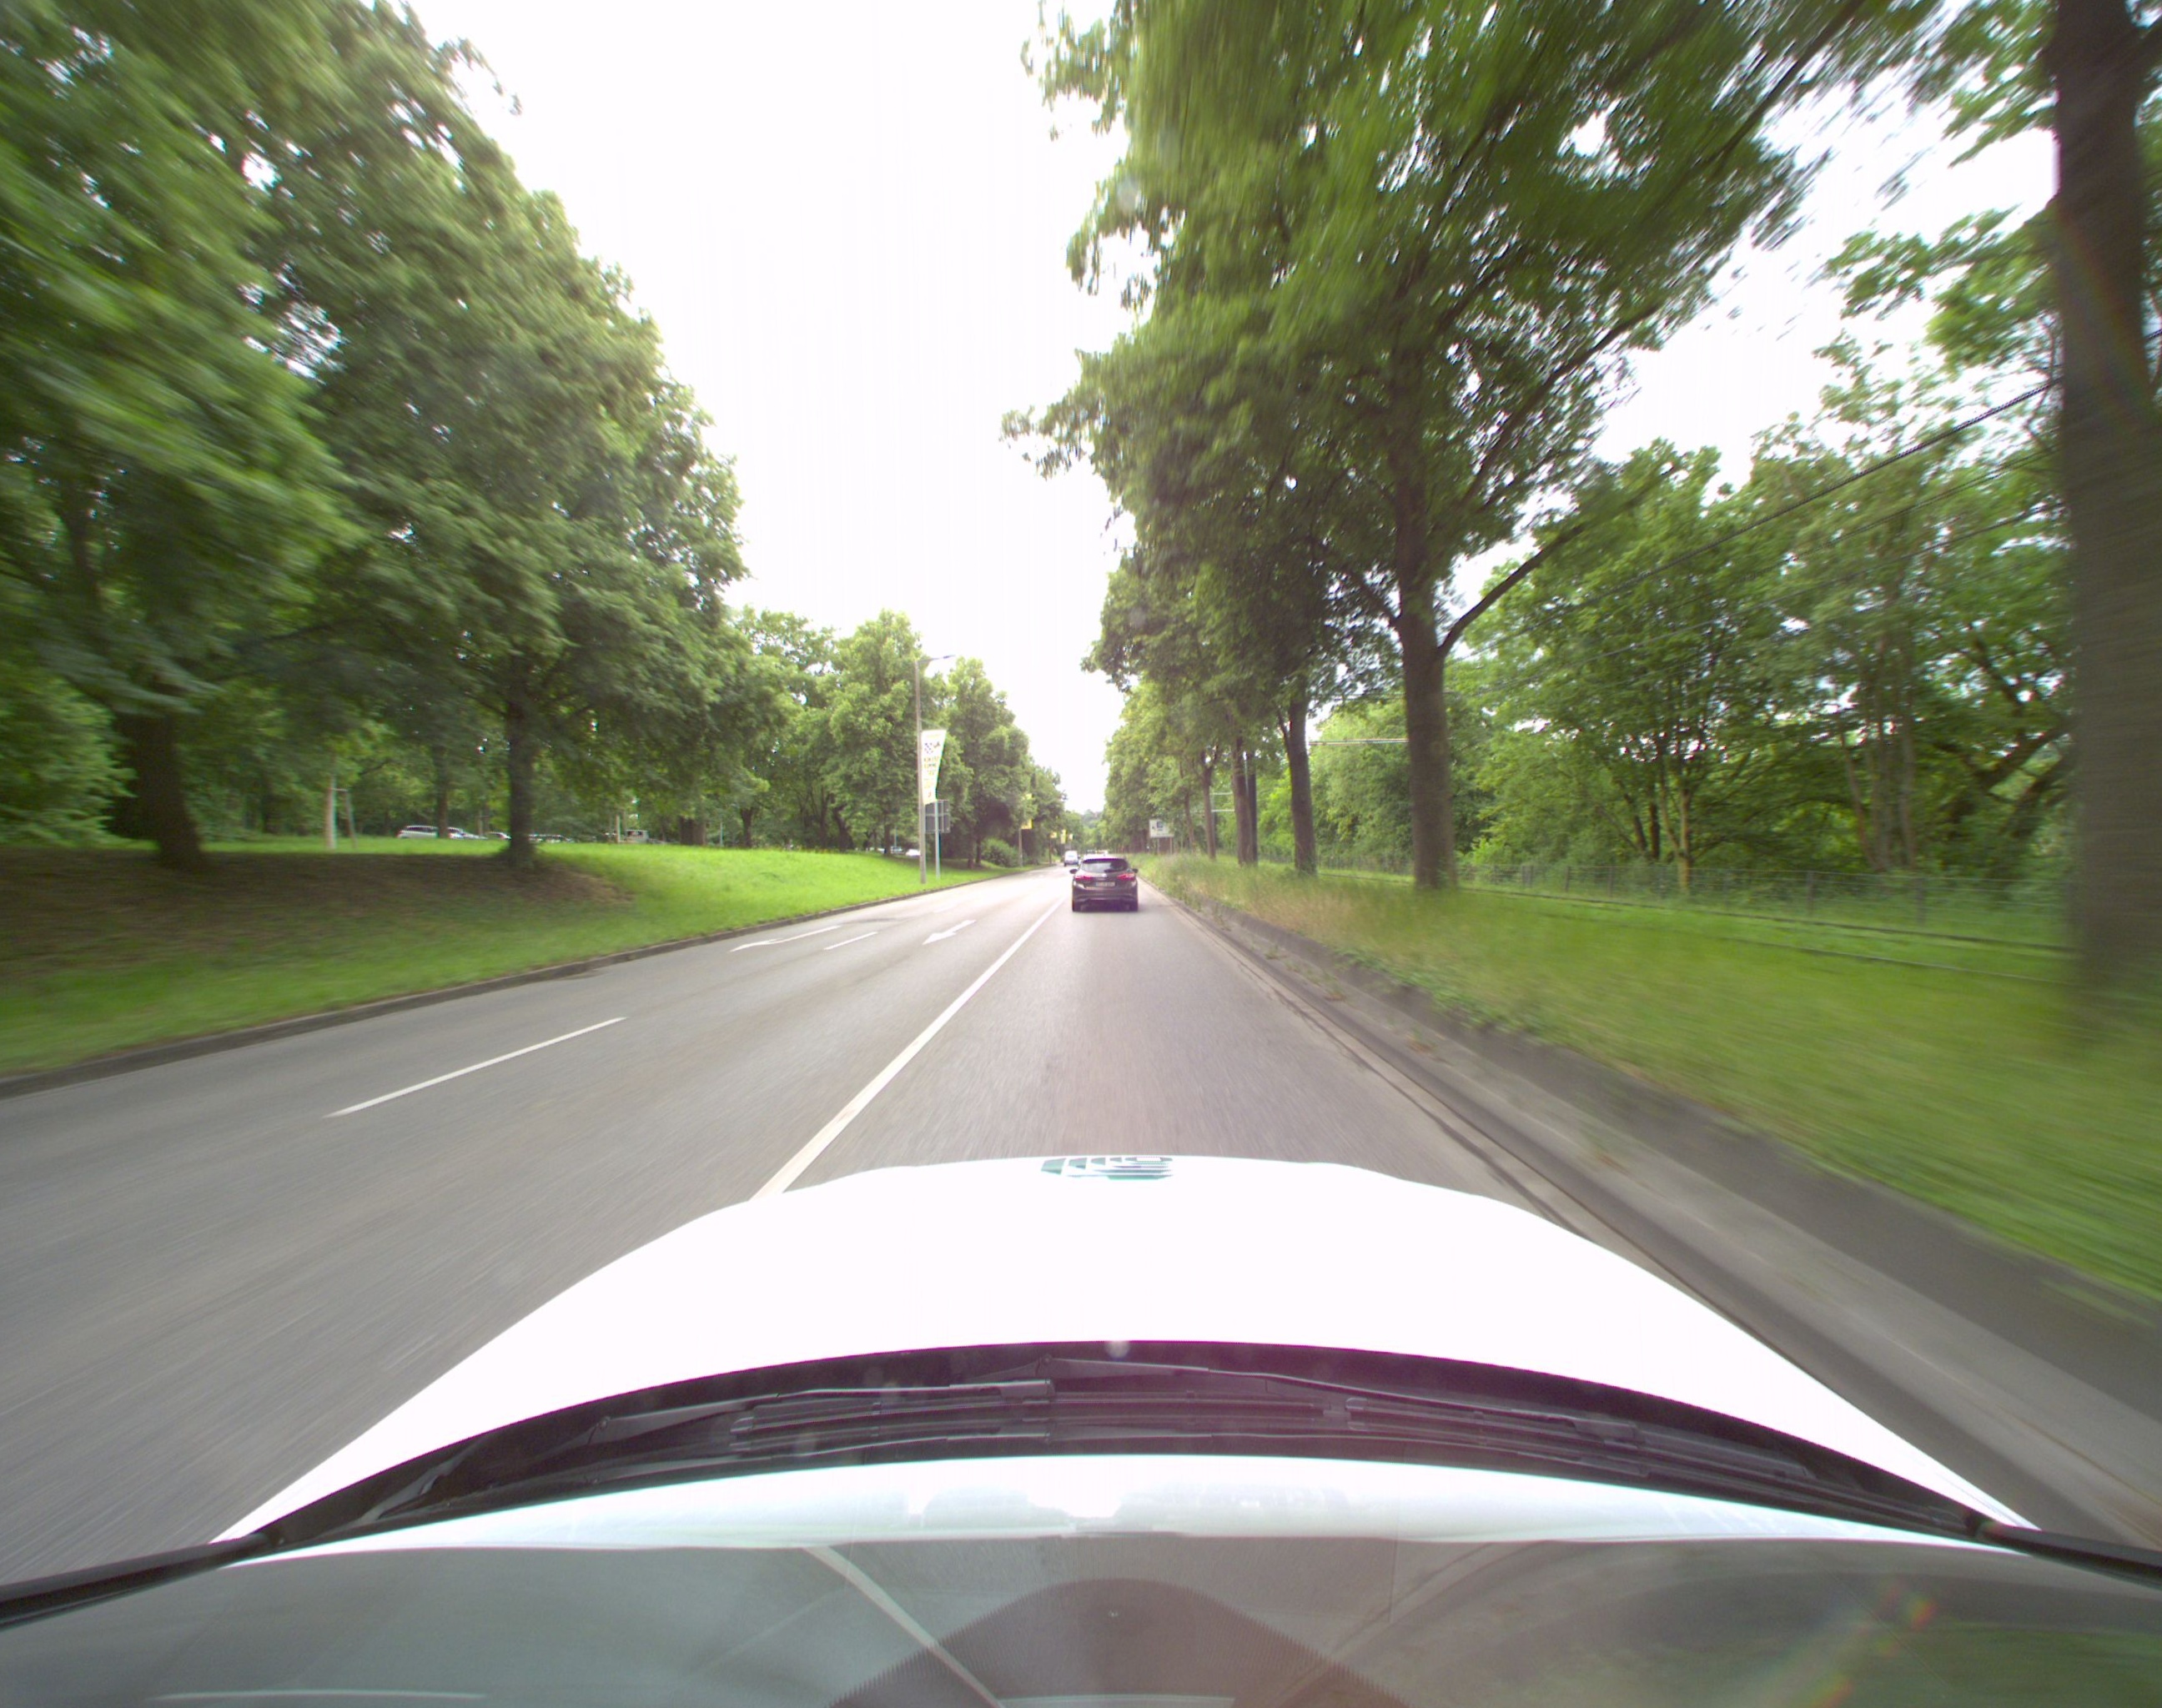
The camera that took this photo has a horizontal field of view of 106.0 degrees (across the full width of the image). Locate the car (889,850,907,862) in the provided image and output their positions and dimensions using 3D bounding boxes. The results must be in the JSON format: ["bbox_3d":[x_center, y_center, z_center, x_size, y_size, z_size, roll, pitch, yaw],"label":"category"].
[{"bbox_3d":[-24.833,0.274,110.423,1.652,1.486,3.970,0,-1,-22],"label":"car"}]

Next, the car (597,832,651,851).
[{"bbox_3d":[-41.853,-1.163,74.618,4.118,1.683,1.741,0,-1,-23],"label":"car"}]

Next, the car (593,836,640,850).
[{"bbox_3d":[-41.030,-0.951,71.970,3.516,1.210,1.388,0,-1,-27],"label":"car"}]

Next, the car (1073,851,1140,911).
[{"bbox_3d":[0.694,0.698,22.726,1.724,1.537,3.552,0,0,1],"label":"car"}]

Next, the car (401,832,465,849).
[{"bbox_3d":[-48.543,-1.004,61.068,3.516,1.233,1.388,0,-1,-27],"label":"car"}]

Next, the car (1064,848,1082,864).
[{"bbox_3d":[-1.030,0.314,103.710,1.986,1.955,5.186,-2,-1,2],"label":"car"}]

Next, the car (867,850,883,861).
[{"bbox_3d":[-27.784,0.195,109.799,1.652,1.486,3.970,0,-1,-22],"label":"car"}]

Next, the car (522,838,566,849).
[{"bbox_3d":[-63.335,-1.224,96.156,3.990,1.210,1.888,0,-1,-24],"label":"car"}]

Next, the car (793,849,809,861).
[{"bbox_3d":[-34.121,0.148,99.078,1.652,1.486,3.970,0,-1,-22],"label":"car"}]
